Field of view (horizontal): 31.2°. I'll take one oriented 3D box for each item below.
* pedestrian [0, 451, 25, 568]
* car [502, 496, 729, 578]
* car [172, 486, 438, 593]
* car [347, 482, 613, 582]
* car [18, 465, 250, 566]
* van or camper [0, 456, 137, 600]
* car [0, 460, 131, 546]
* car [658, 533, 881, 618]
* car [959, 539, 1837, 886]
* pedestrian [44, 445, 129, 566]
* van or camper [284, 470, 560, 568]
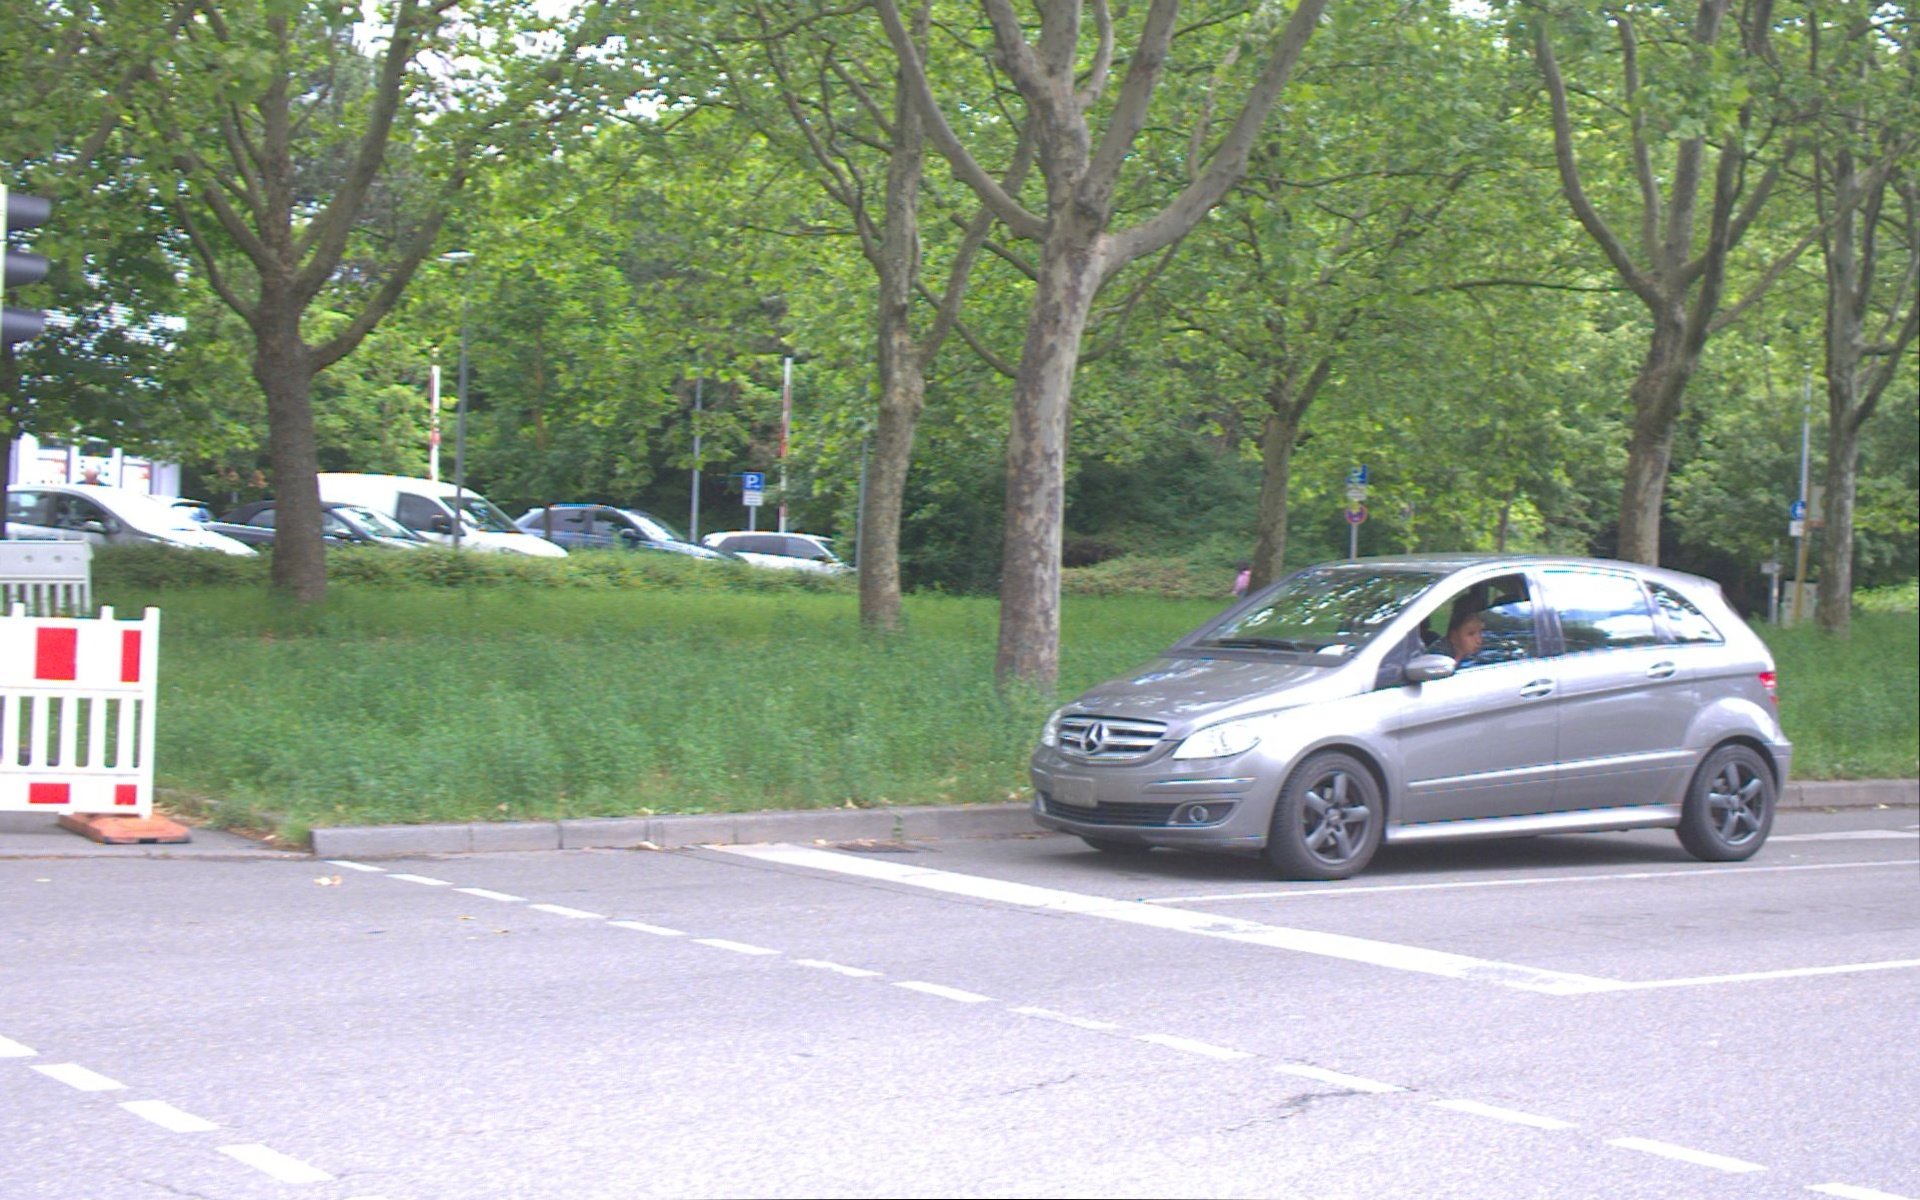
[{"bbox_3d":[-15.911,-1.472,55.700,1.072,1.864,1.059,1,0,-42],"label":"pedestrian"},{"bbox_3d":[-5.593,-1.027,55.871,3.242,1.251,1.692,1,0,25],"label":"car"},{"bbox_3d":[-9.070,-0.843,47.569,3.402,1.399,1.483,1,0,27],"label":"car"},{"bbox_3d":[-7.457,-1.058,53.373,3.885,1.460,1.483,1,0,26],"label":"car"},{"bbox_3d":[-14.835,-1.525,61.728,3.815,1.629,1.671,3,1,26],"label":"car"},{"bbox_3d":[-12.211,-0.906,41.931,3.993,1.678,1.843,2,2,29],"label":"van or camper"},{"bbox_3d":[-16.056,-1.669,58.872,3.402,1.399,1.483,1,0,25],"label":"car"},{"bbox_3d":[-3.525,-0.452,63.441,3.739,1.495,1.731,1,0,30],"label":"car"},{"bbox_3d":[2.321,0.534,17.688,4.398,1.581,1.772,1,0,-35],"label":"car"},{"bbox_3d":[-11.650,-1.250,45.844,0.794,1.581,0.799,1,0,-42],"label":"pedestrian"},{"bbox_3d":[-7.909,-1.192,50.521,3.767,1.352,1.516,1,0,23],"label":"van or camper"}]
